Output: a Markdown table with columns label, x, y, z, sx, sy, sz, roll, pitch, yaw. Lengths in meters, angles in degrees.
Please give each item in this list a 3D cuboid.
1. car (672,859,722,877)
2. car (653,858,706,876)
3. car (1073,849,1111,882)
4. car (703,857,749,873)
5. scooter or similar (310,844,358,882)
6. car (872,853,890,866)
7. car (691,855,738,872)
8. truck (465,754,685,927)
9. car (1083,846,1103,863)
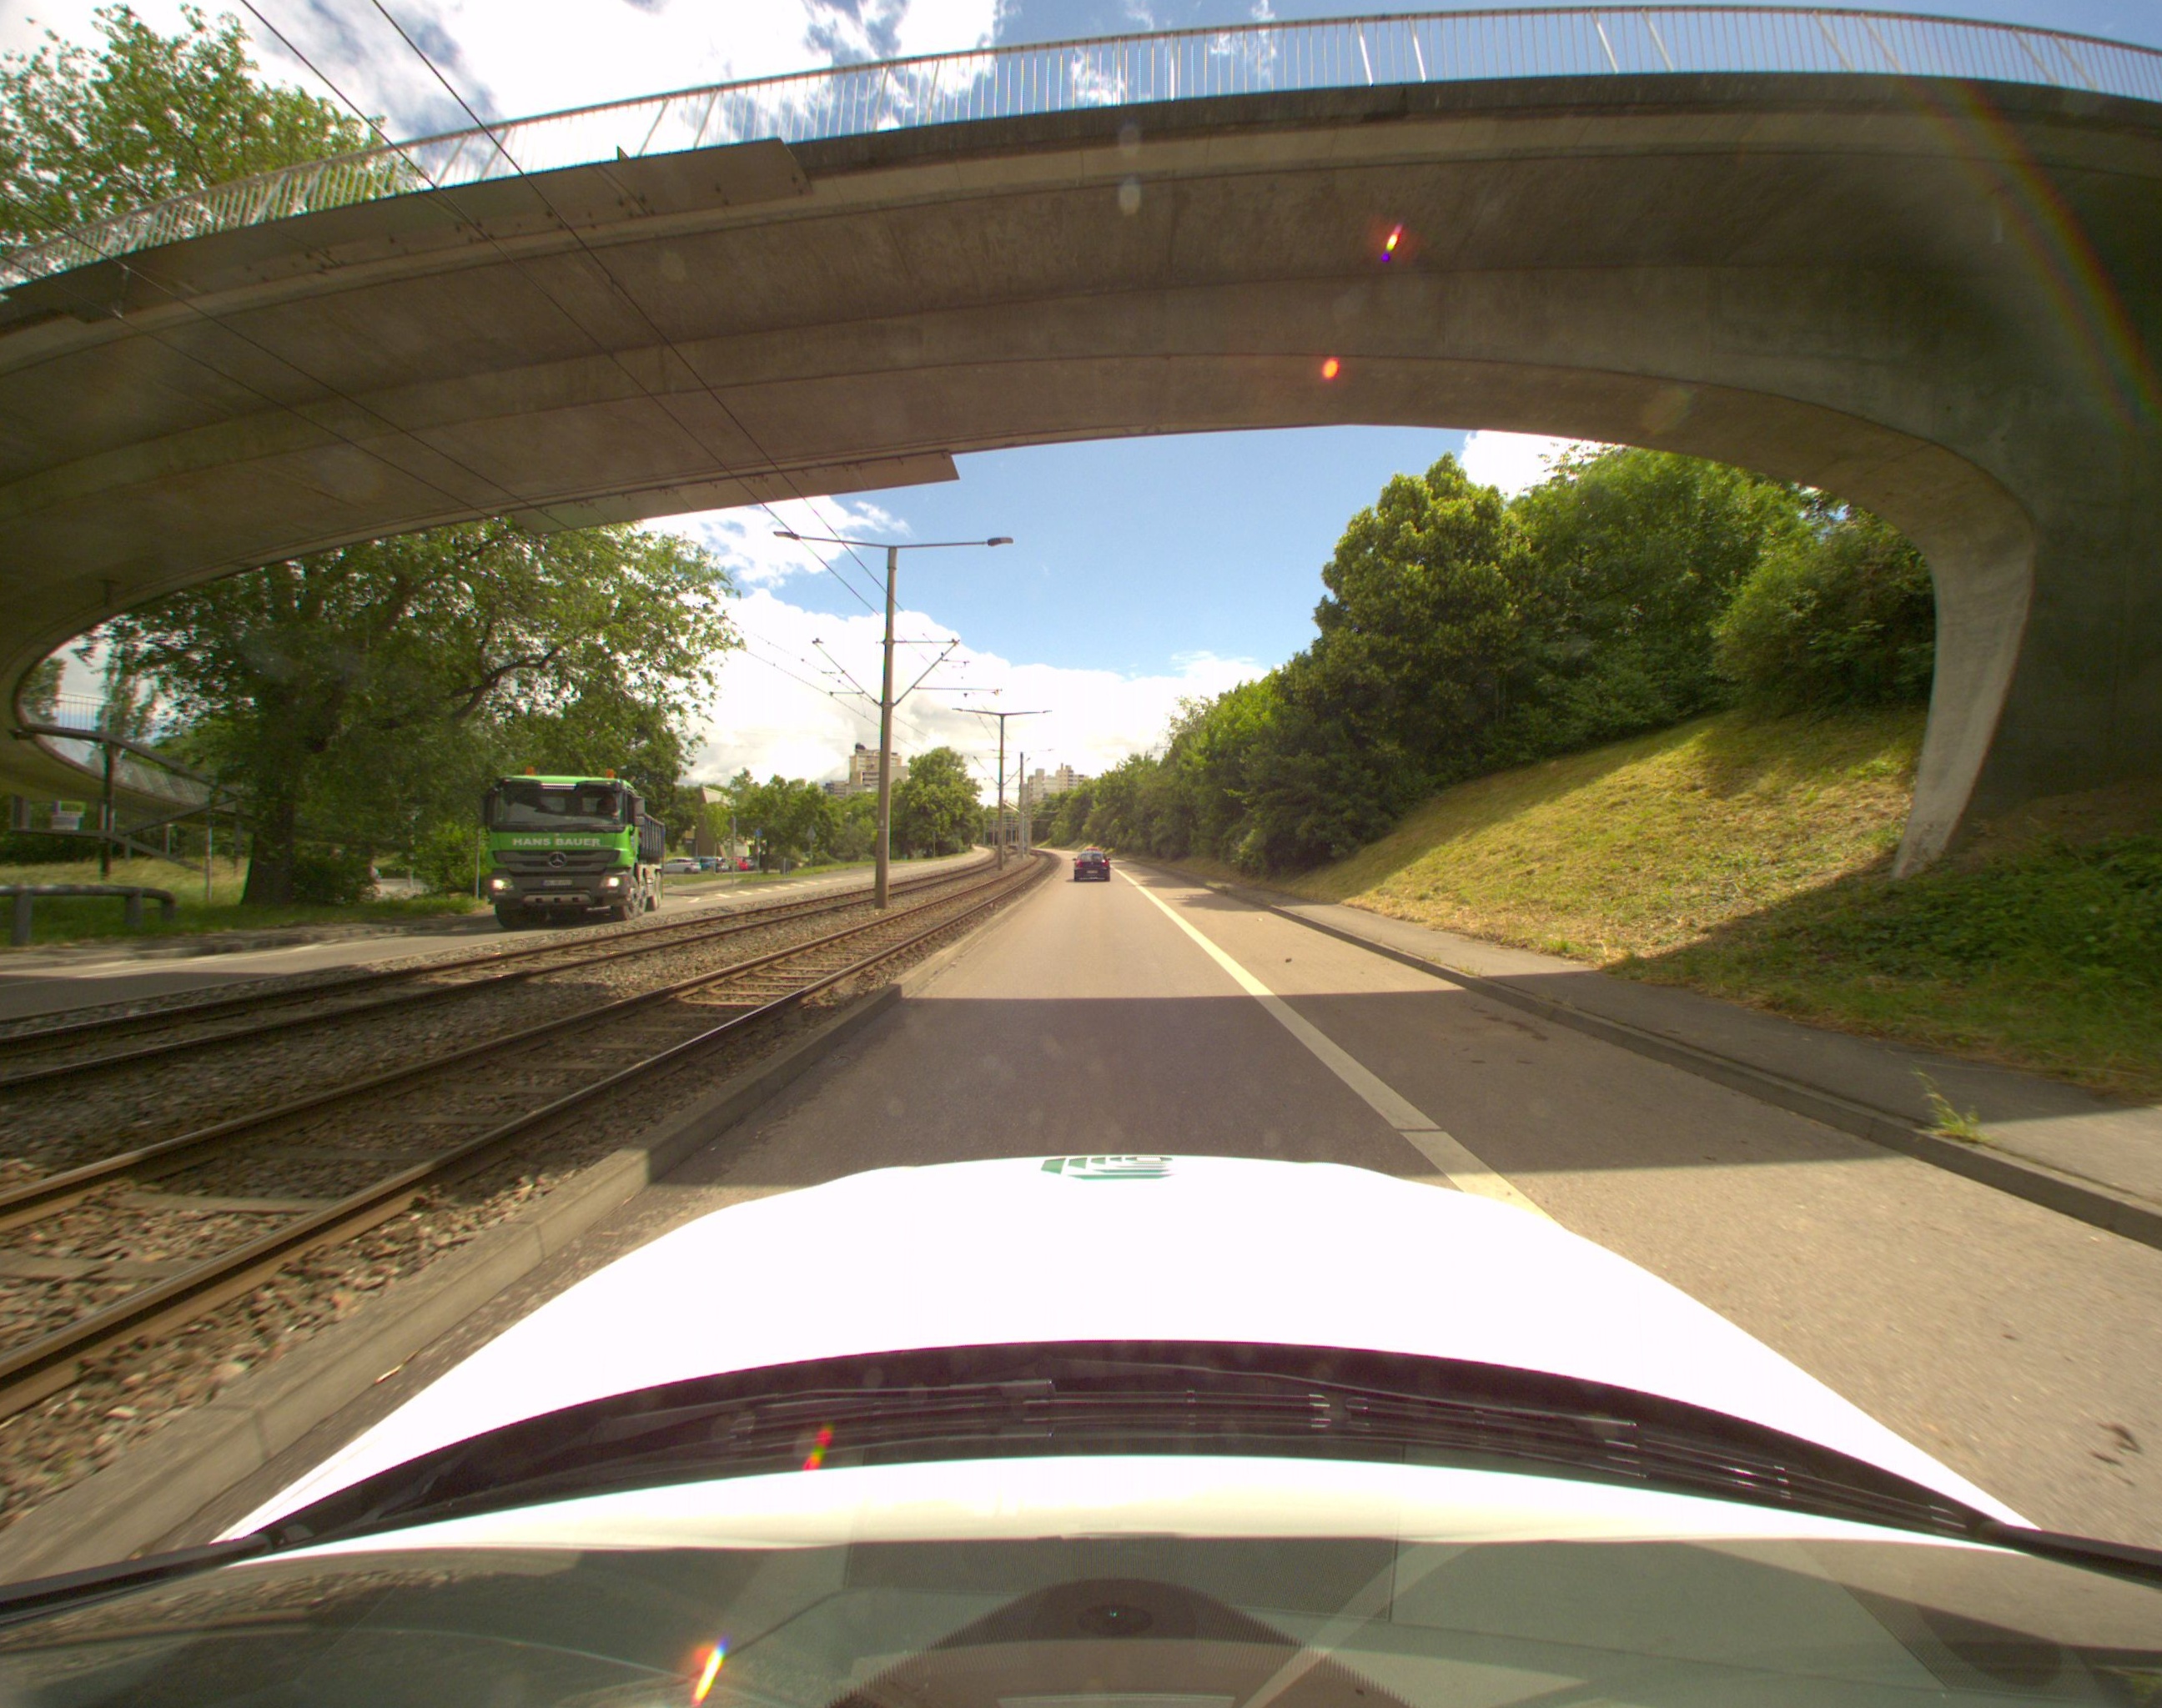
| label | x | y | z | sx | sy | sz | roll | pitch | yaw |
| --- | --- | --- | --- | --- | --- | --- | --- | --- | --- |
| car | -37.343 | 1.367 | 79.318 | 3.937 | 1.580 | 1.871 | 1 | 1 | 3 |
| car | -36.934 | 1.197 | 75.023 | 3.907 | 1.580 | 1.841 | 1 | 1 | -3 |
| car | 0.570 | 0.543 | 39.446 | 1.702 | 1.460 | 3.961 | 2 | 0 | 2 |
| car | -37.697 | 1.188 | 86.531 | 3.937 | 1.580 | 1.998 | 1 | 1 | 3 |
| scooter or similar | -23.425 | 0.295 | 25.548 | 0.707 | 1.147 | 0.788 | 1 | -2 | 4 |
| car | -29.387 | 0.845 | 119.800 | 1.813 | 1.771 | 3.994 | -1 | 1 | -4 |
| car | -37.827 | 0.991 | 84.121 | 3.937 | 1.580 | 1.998 | 1 | 1 | 3 |
| truck | -12.025 | -0.183 | 20.374 | 2.881 | 3.320 | 8.966 | 2 | -1 | -21 |
| car | 1.074 | 0.060 | 72.532 | 1.618 | 1.443 | 3.423 | 1 | -2 | 3 |
